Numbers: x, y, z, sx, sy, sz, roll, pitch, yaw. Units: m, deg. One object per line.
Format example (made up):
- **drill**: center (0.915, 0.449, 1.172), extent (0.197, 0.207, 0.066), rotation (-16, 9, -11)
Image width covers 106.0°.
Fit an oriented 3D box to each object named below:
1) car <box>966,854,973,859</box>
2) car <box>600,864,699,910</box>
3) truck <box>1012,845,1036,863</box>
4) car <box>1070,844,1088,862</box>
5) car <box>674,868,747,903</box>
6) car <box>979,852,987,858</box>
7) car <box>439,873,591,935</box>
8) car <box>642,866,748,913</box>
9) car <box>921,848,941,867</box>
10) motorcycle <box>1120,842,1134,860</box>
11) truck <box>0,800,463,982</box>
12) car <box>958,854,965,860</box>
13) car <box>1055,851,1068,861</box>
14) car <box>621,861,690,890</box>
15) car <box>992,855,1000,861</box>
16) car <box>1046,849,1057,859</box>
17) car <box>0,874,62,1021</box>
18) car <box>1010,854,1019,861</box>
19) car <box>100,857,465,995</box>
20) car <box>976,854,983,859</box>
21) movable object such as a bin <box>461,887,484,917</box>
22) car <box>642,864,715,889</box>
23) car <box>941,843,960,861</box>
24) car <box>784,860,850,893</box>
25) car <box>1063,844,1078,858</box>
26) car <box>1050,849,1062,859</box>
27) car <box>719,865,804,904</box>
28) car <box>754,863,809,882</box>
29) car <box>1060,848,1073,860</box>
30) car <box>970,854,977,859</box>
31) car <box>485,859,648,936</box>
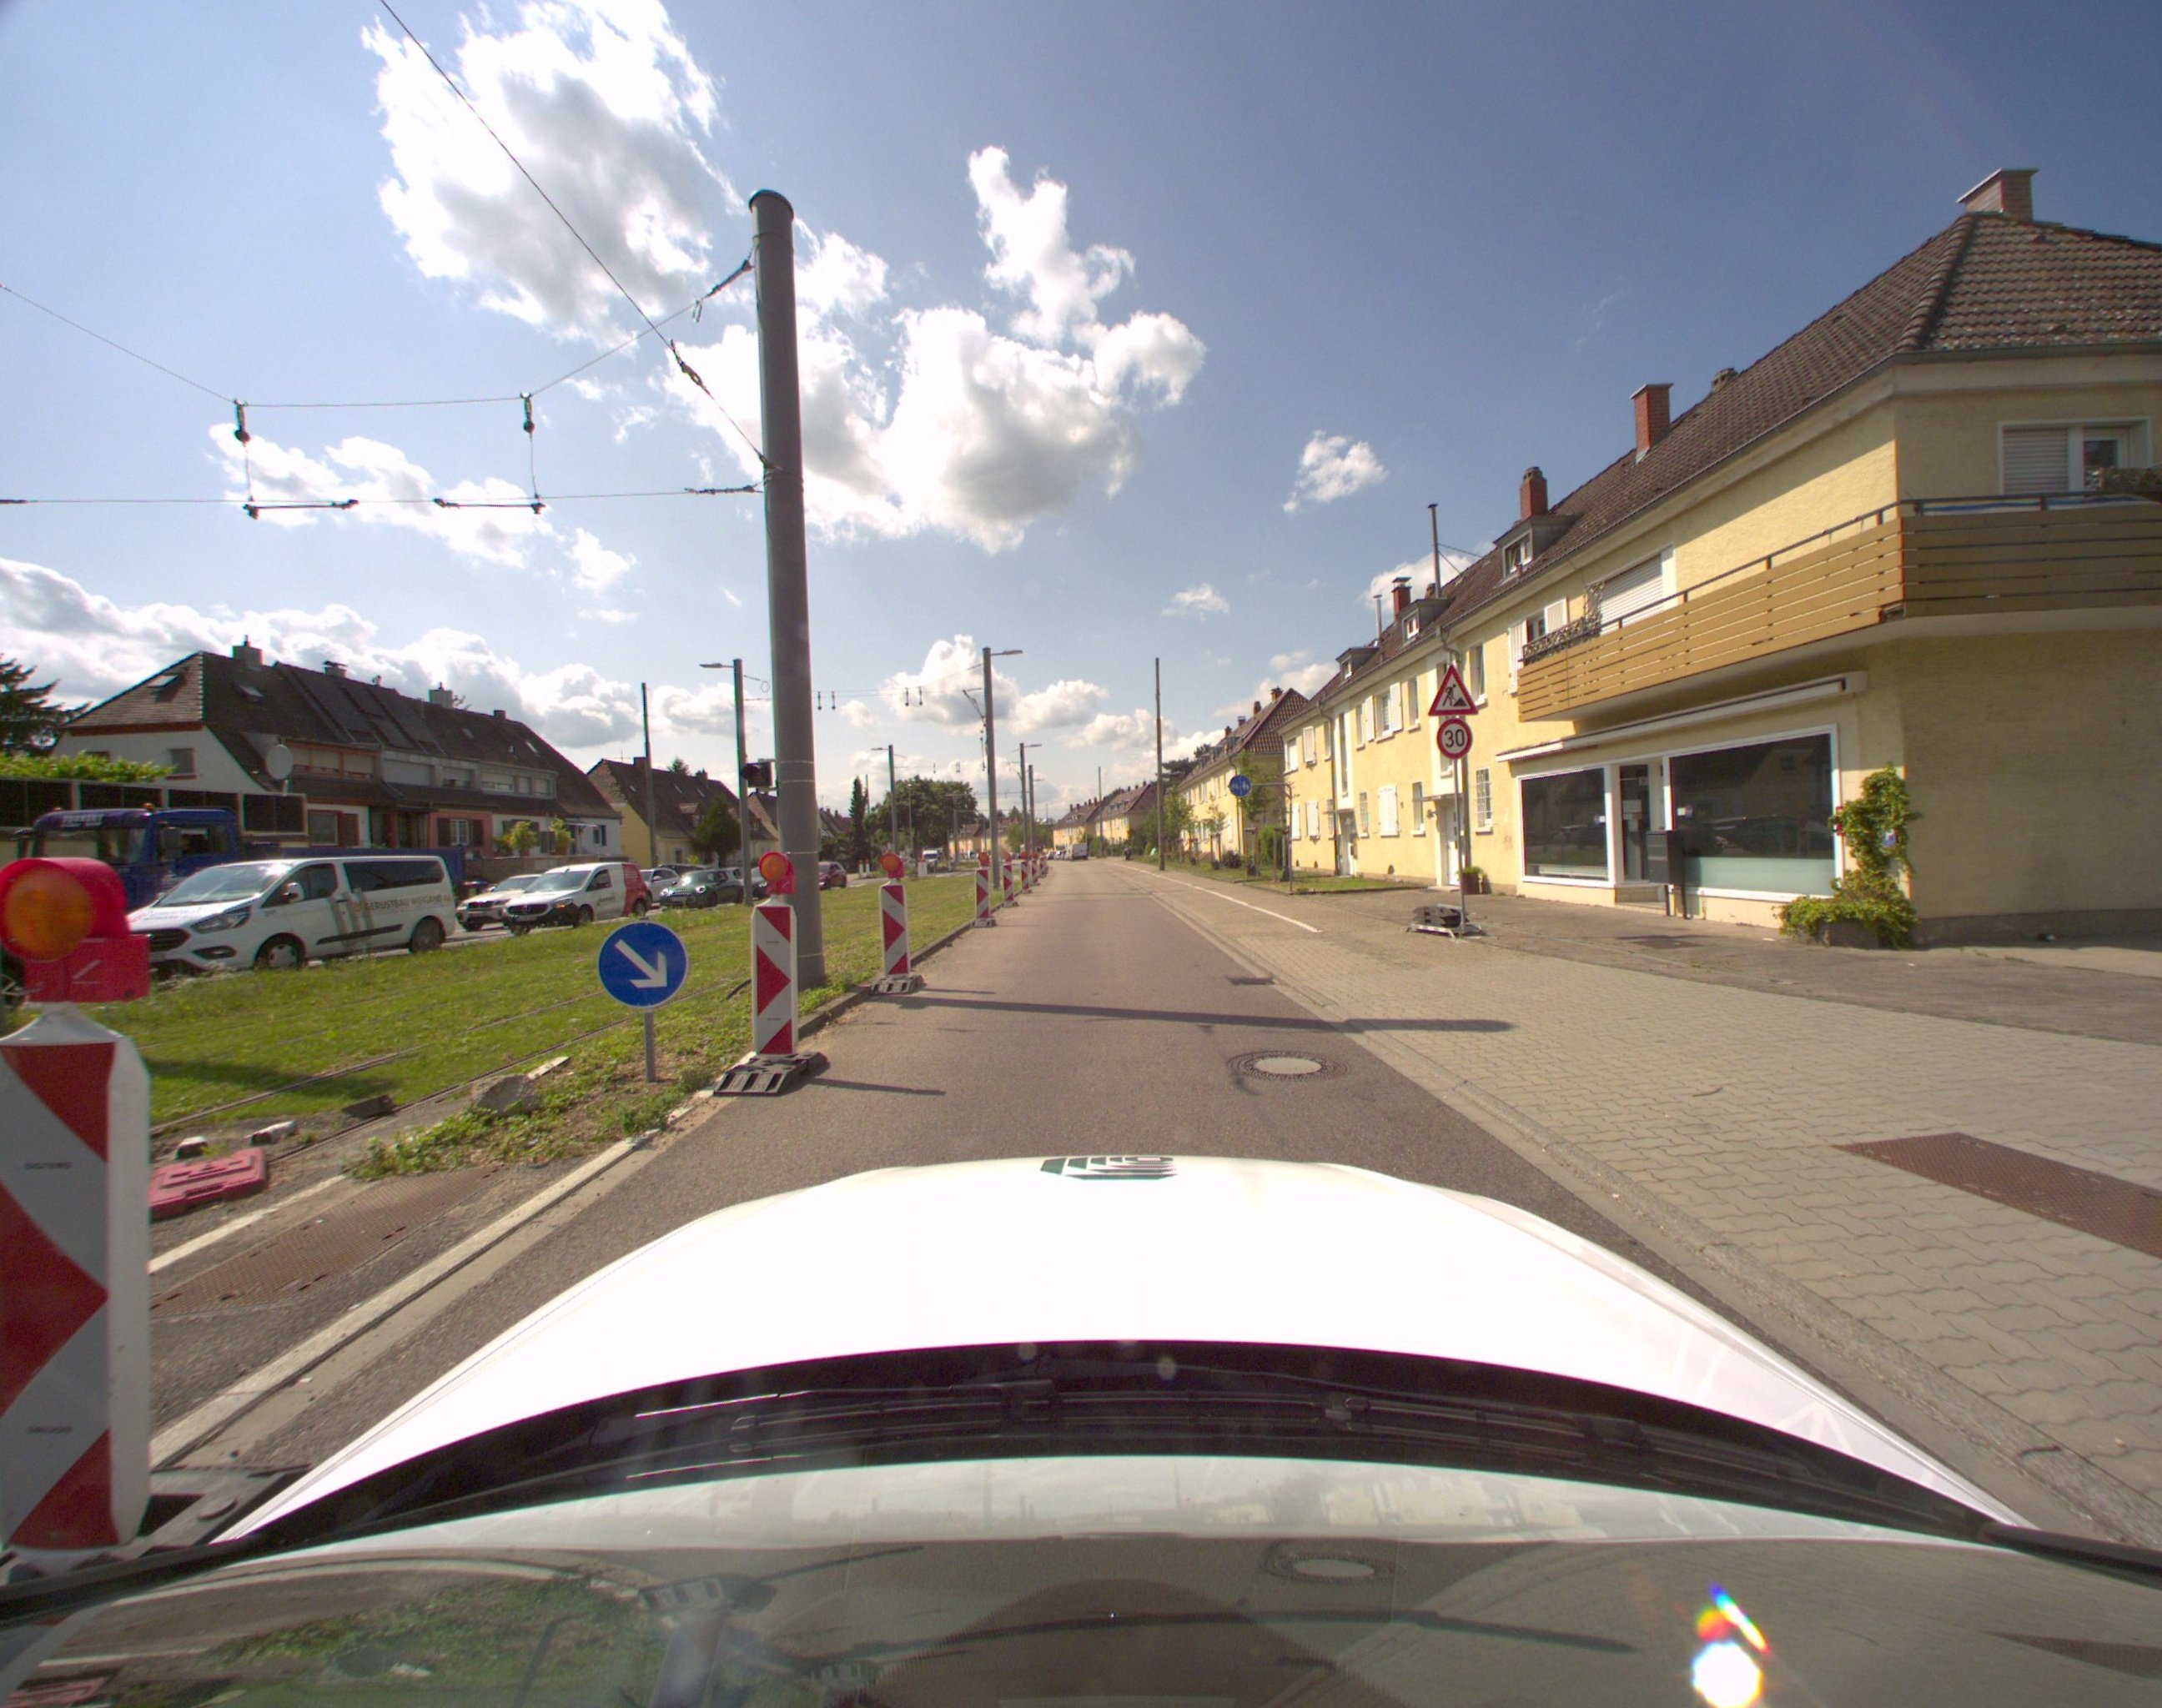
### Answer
- **car**: center (-30.501, 0.667, 223.408), extent (1.170, 1.426, 2.646), rotation (-3, 0, -22)
- **car**: center (-18.327, 1.343, 34.842), extent (1.838, 1.668, 4.503), rotation (-3, 0, -2)
- **truck**: center (-11.752, 0.049, 166.876), extent (2.647, 3.494, 9.382), rotation (-3, 0, -17)
- **car**: center (-0.282, -0.173, 105.075), extent (2.061, 2.149, 4.872), rotation (-3, 0, -3)
- **car**: center (-18.064, 1.497, 39.879), extent (1.838, 1.493, 3.654), rotation (-3, 0, -1)
- **car**: center (-25.406, 0.226, 211.230), extent (1.262, 1.350, 2.647), rotation (-3, 0, -21)
- **car**: center (-18.622, 1.586, 27.097), extent (1.837, 1.659, 4.437), rotation (-3, 0, 0)
- **car**: center (-13.722, 1.207, 29.230), extent (1.910, 1.418, 3.997), rotation (-3, 0, -2)
- **car**: center (-19.403, 0.437, 105.189), extent (2.408, 2.338, 4.861), rotation (-3, 0, -11)
- **motorcycle**: center (4.486, -0.279, 79.159), extent (1.063, 1.635, 2.082), rotation (-3, 0, -2)
- **truck**: center (-18.439, 0.659, 18.696), extent (2.761, 3.188, 7.577), rotation (-3, 0, -2)
- **car**: center (-34.357, 0.890, 233.712), extent (1.263, 1.426, 2.645), rotation (-3, 0, -22)
- **car**: center (-2.954, 0.300, 125.394), extent (1.566, 1.551, 3.779), rotation (-3, 0, -7)
- **car**: center (-26.635, 1.330, 51.041), extent (3.376, 1.594, 1.603), rotation (2, 0, -3)
- **car**: center (-20.784, 0.892, 199.608), extent (1.261, 1.426, 2.648), rotation (-3, 0, -19)
- **car**: center (-5.228, -0.028, 143.551), extent (1.566, 1.551, 3.470), rotation (-3, 0, -7)
- **car**: center (-13.821, 1.205, 8.056), extent (1.781, 1.720, 4.440), rotation (-3, 1, 0)
- **car**: center (-14.685, 0.745, 179.293), extent (1.261, 1.426, 2.649), rotation (-3, 0, -17)
- **car**: center (-13.674, 1.085, 14.500), extent (1.809, 1.921, 4.745), rotation (-3, 0, -2)
- **car**: center (-26.878, 0.634, 215.061), extent (1.262, 1.350, 2.647), rotation (-3, 0, -21)
- **movable object such as a bin**: center (-24.771, 1.948, 33.146), extent (0.444, 1.184, 0.573), rotation (-3, 0, -6)
- **car**: center (-26.897, 1.497, 54.488), extent (3.943, 1.491, 1.603), rotation (2, 0, -3)
- **car**: center (-18.844, -0.322, 117.380), extent (2.408, 2.370, 4.861), rotation (-3, 1, -11)
- **car**: center (-13.745, 1.137, 42.774), extent (1.838, 1.493, 4.855), rotation (-3, 0, -1)
- **car**: center (-1.448, -0.430, 114.700), extent (1.566, 1.897, 3.779), rotation (-3, 0, -7)
- **car**: center (-4.216, -0.032, 137.400), extent (1.566, 1.551, 3.470), rotation (-3, 0, -7)
- **car**: center (-13.902, 1.284, 35.764), extent (1.838, 1.413, 4.913), rotation (-3, 0, -2)
- **car**: center (-26.434, 1.618, 71.978), extent (4.096, 1.466, 1.990), rotation (-3, 0, -1)
- **car**: center (-2.146, -0.003, 119.929), extent (1.566, 1.551, 3.779), rotation (-3, 0, -7)
- **car**: center (-28.882, 0.659, 219.261), extent (1.170, 1.426, 2.646), rotation (-3, 0, -22)
- **car**: center (-13.961, 1.097, 22.452), extent (1.728, 1.782, 4.402), rotation (-3, 0, -2)
